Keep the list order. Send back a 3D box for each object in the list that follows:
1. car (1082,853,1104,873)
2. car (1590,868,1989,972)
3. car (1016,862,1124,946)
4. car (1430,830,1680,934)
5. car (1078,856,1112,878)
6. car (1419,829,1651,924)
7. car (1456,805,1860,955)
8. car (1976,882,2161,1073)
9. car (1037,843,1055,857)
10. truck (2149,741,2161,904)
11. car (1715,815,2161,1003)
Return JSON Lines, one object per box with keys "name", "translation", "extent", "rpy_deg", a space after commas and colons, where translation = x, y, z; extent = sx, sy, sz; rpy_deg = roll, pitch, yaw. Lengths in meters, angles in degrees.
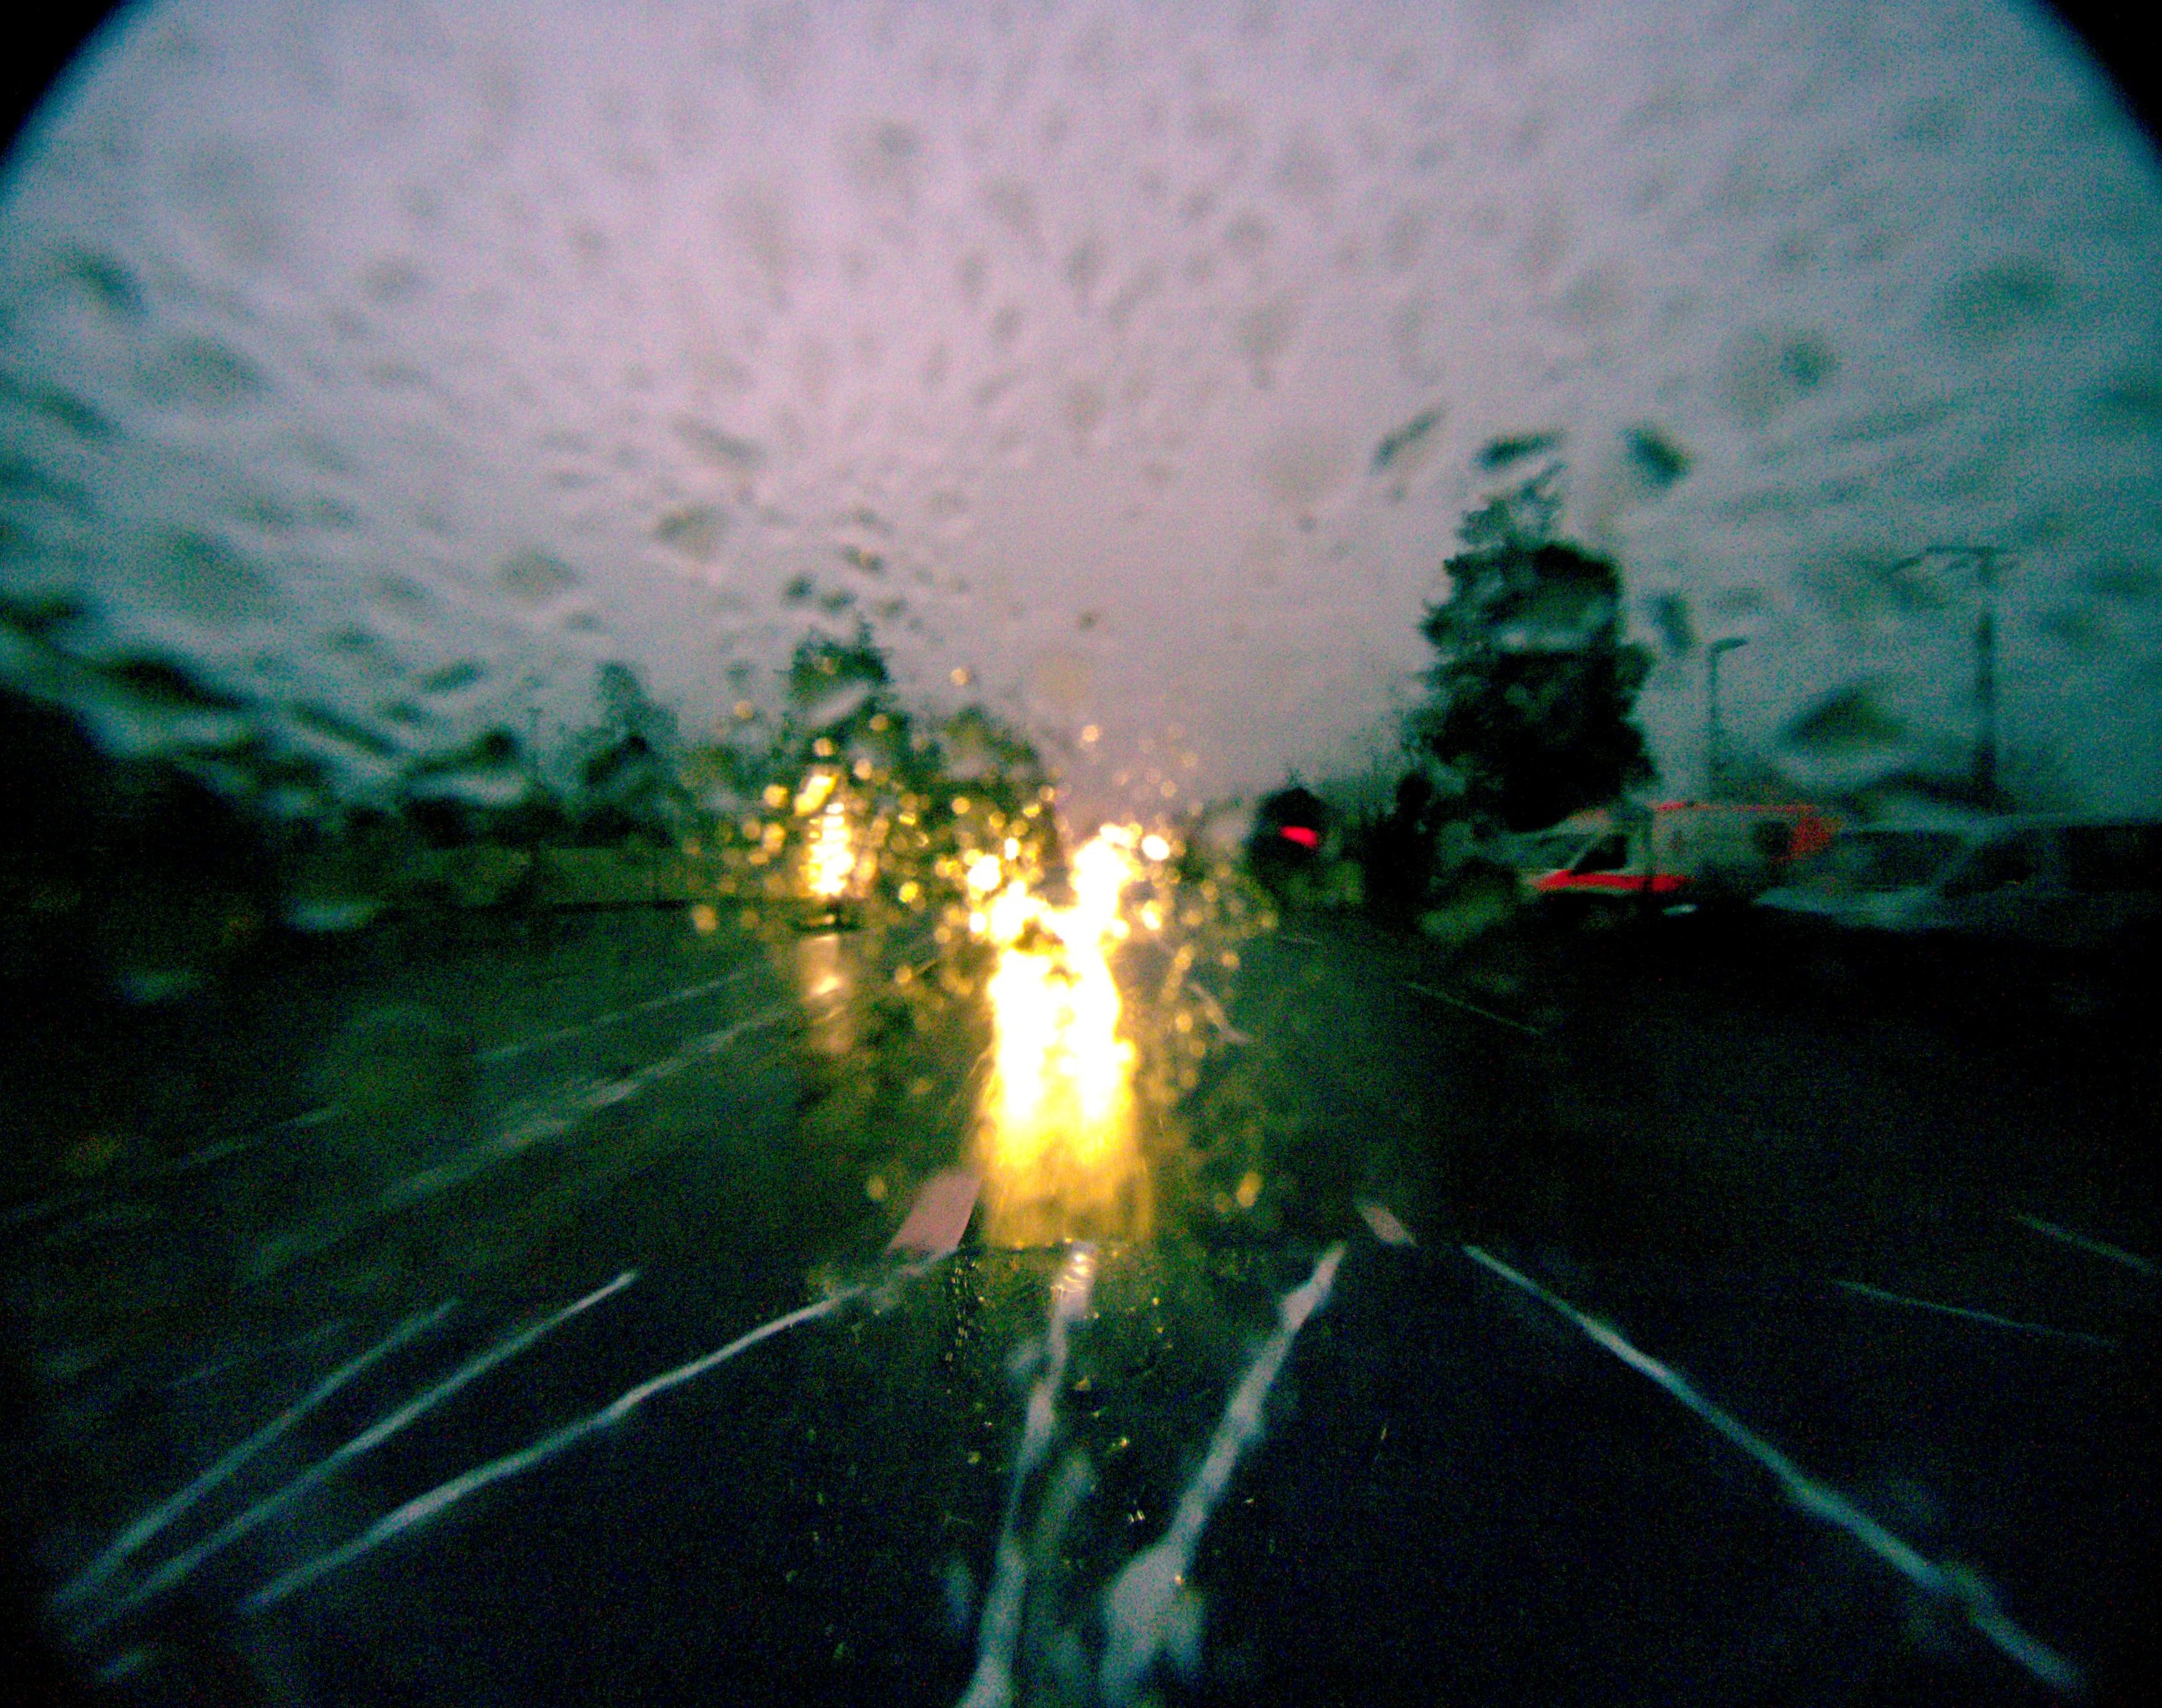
{"name": "car", "translation": [1.113, 0.819, 69.562], "extent": [1.933, 1.701, 4.000], "rpy_deg": [-1, 0, 1]}
{"name": "car", "translation": [11.502, 1.028, 12.607], "extent": [4.761, 1.474, 1.955], "rpy_deg": [1, 0, 0]}
{"name": "car", "translation": [-0.342, 0.965, 16.363], "extent": [2.016, 1.484, 3.998], "rpy_deg": [-1, 0, -4]}
{"name": "car", "translation": [11.096, 0.635, 18.055], "extent": [4.678, 2.259, 1.987], "rpy_deg": [1, 0, 0]}
{"name": "car", "translation": [0.942, 0.894, 53.275], "extent": [2.016, 1.484, 3.998], "rpy_deg": [-1, 0, -4]}
{"name": "car", "translation": [12.250, 0.597, 20.745], "extent": [5.115, 2.376, 2.080], "rpy_deg": [1, 0, -2]}
{"name": "car", "translation": [10.956, 0.479, 14.814], "extent": [6.171, 2.616, 2.176], "rpy_deg": [1, 0, 0]}
{"name": "car", "translation": [8.876, 0.912, 4.973], "extent": [1.655, 1.411, 3.743], "rpy_deg": [0, -1, 1]}
{"name": "car", "translation": [-4.233, -0.465, 92.678], "extent": [1.890, 1.618, 4.000], "rpy_deg": [-1, 0, 1]}
{"name": "truck", "translation": [32.502, -0.981, 19.177], "extent": [8.715, 4.237, 3.004], "rpy_deg": [-2, 1, -10]}
{"name": "car", "translation": [11.739, 0.667, 9.910], "extent": [5.159, 2.137, 2.058], "rpy_deg": [1, 0, 0]}
